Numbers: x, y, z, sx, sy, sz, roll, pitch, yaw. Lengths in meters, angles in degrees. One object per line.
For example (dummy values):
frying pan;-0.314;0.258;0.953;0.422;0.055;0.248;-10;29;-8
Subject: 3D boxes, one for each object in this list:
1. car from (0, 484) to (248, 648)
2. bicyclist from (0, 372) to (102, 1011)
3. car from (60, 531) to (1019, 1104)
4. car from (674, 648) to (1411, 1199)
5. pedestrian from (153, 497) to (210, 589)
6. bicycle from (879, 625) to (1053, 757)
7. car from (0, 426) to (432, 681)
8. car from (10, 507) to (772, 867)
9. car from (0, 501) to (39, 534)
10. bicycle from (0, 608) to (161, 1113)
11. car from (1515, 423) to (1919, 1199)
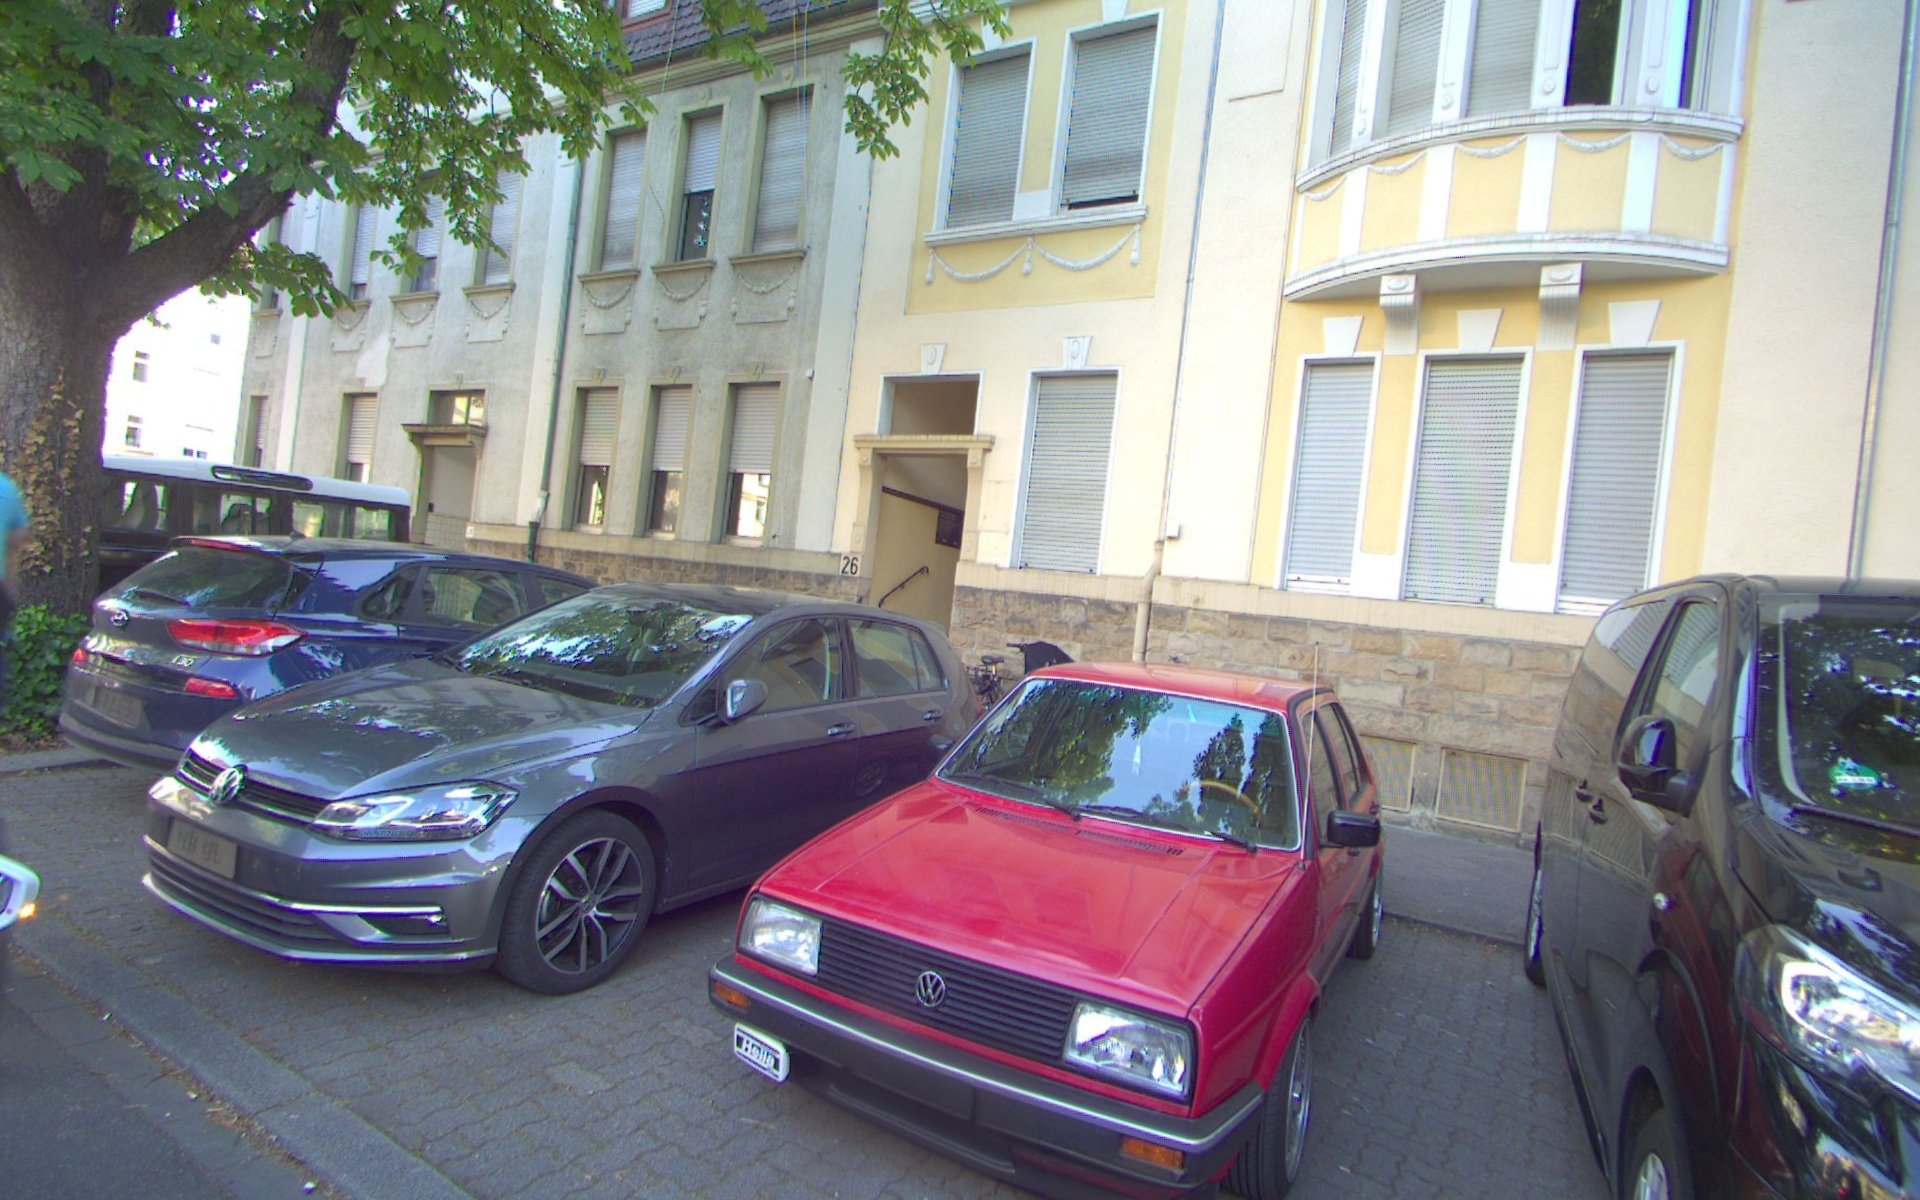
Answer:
car;-10.080;-0.402;10.829;1.680;1.606;3.488;7;0;26
bicyclist;-3.125;0.220;2.864;0.817;1.795;0.648;6;-1;32
car;-1.363;0.648;4.824;1.600;1.440;4.054;6;0;29
car;0.833;0.960;4.228;1.532;1.337;3.916;6;0;29
pedestrian;-16.893;-1.231;21.832;0.565;1.867;0.633;7;0;28
bicycle;0.044;0.895;10.336;1.675;1.090;0.500;7;2;32
car;-7.618;-0.383;9.315;1.762;1.981;4.496;7;1;29
car;-3.045;0.415;6.215;1.600;1.440;3.754;6;0;29
car;-36.171;-3.216;36.774;1.357;1.081;3.370;7;-1;30
bicycle;-3.195;0.576;2.842;1.980;1.131;0.744;7;-1;32
car;2.880;0.897;2.948;1.848;1.847;4.829;6;0;27
